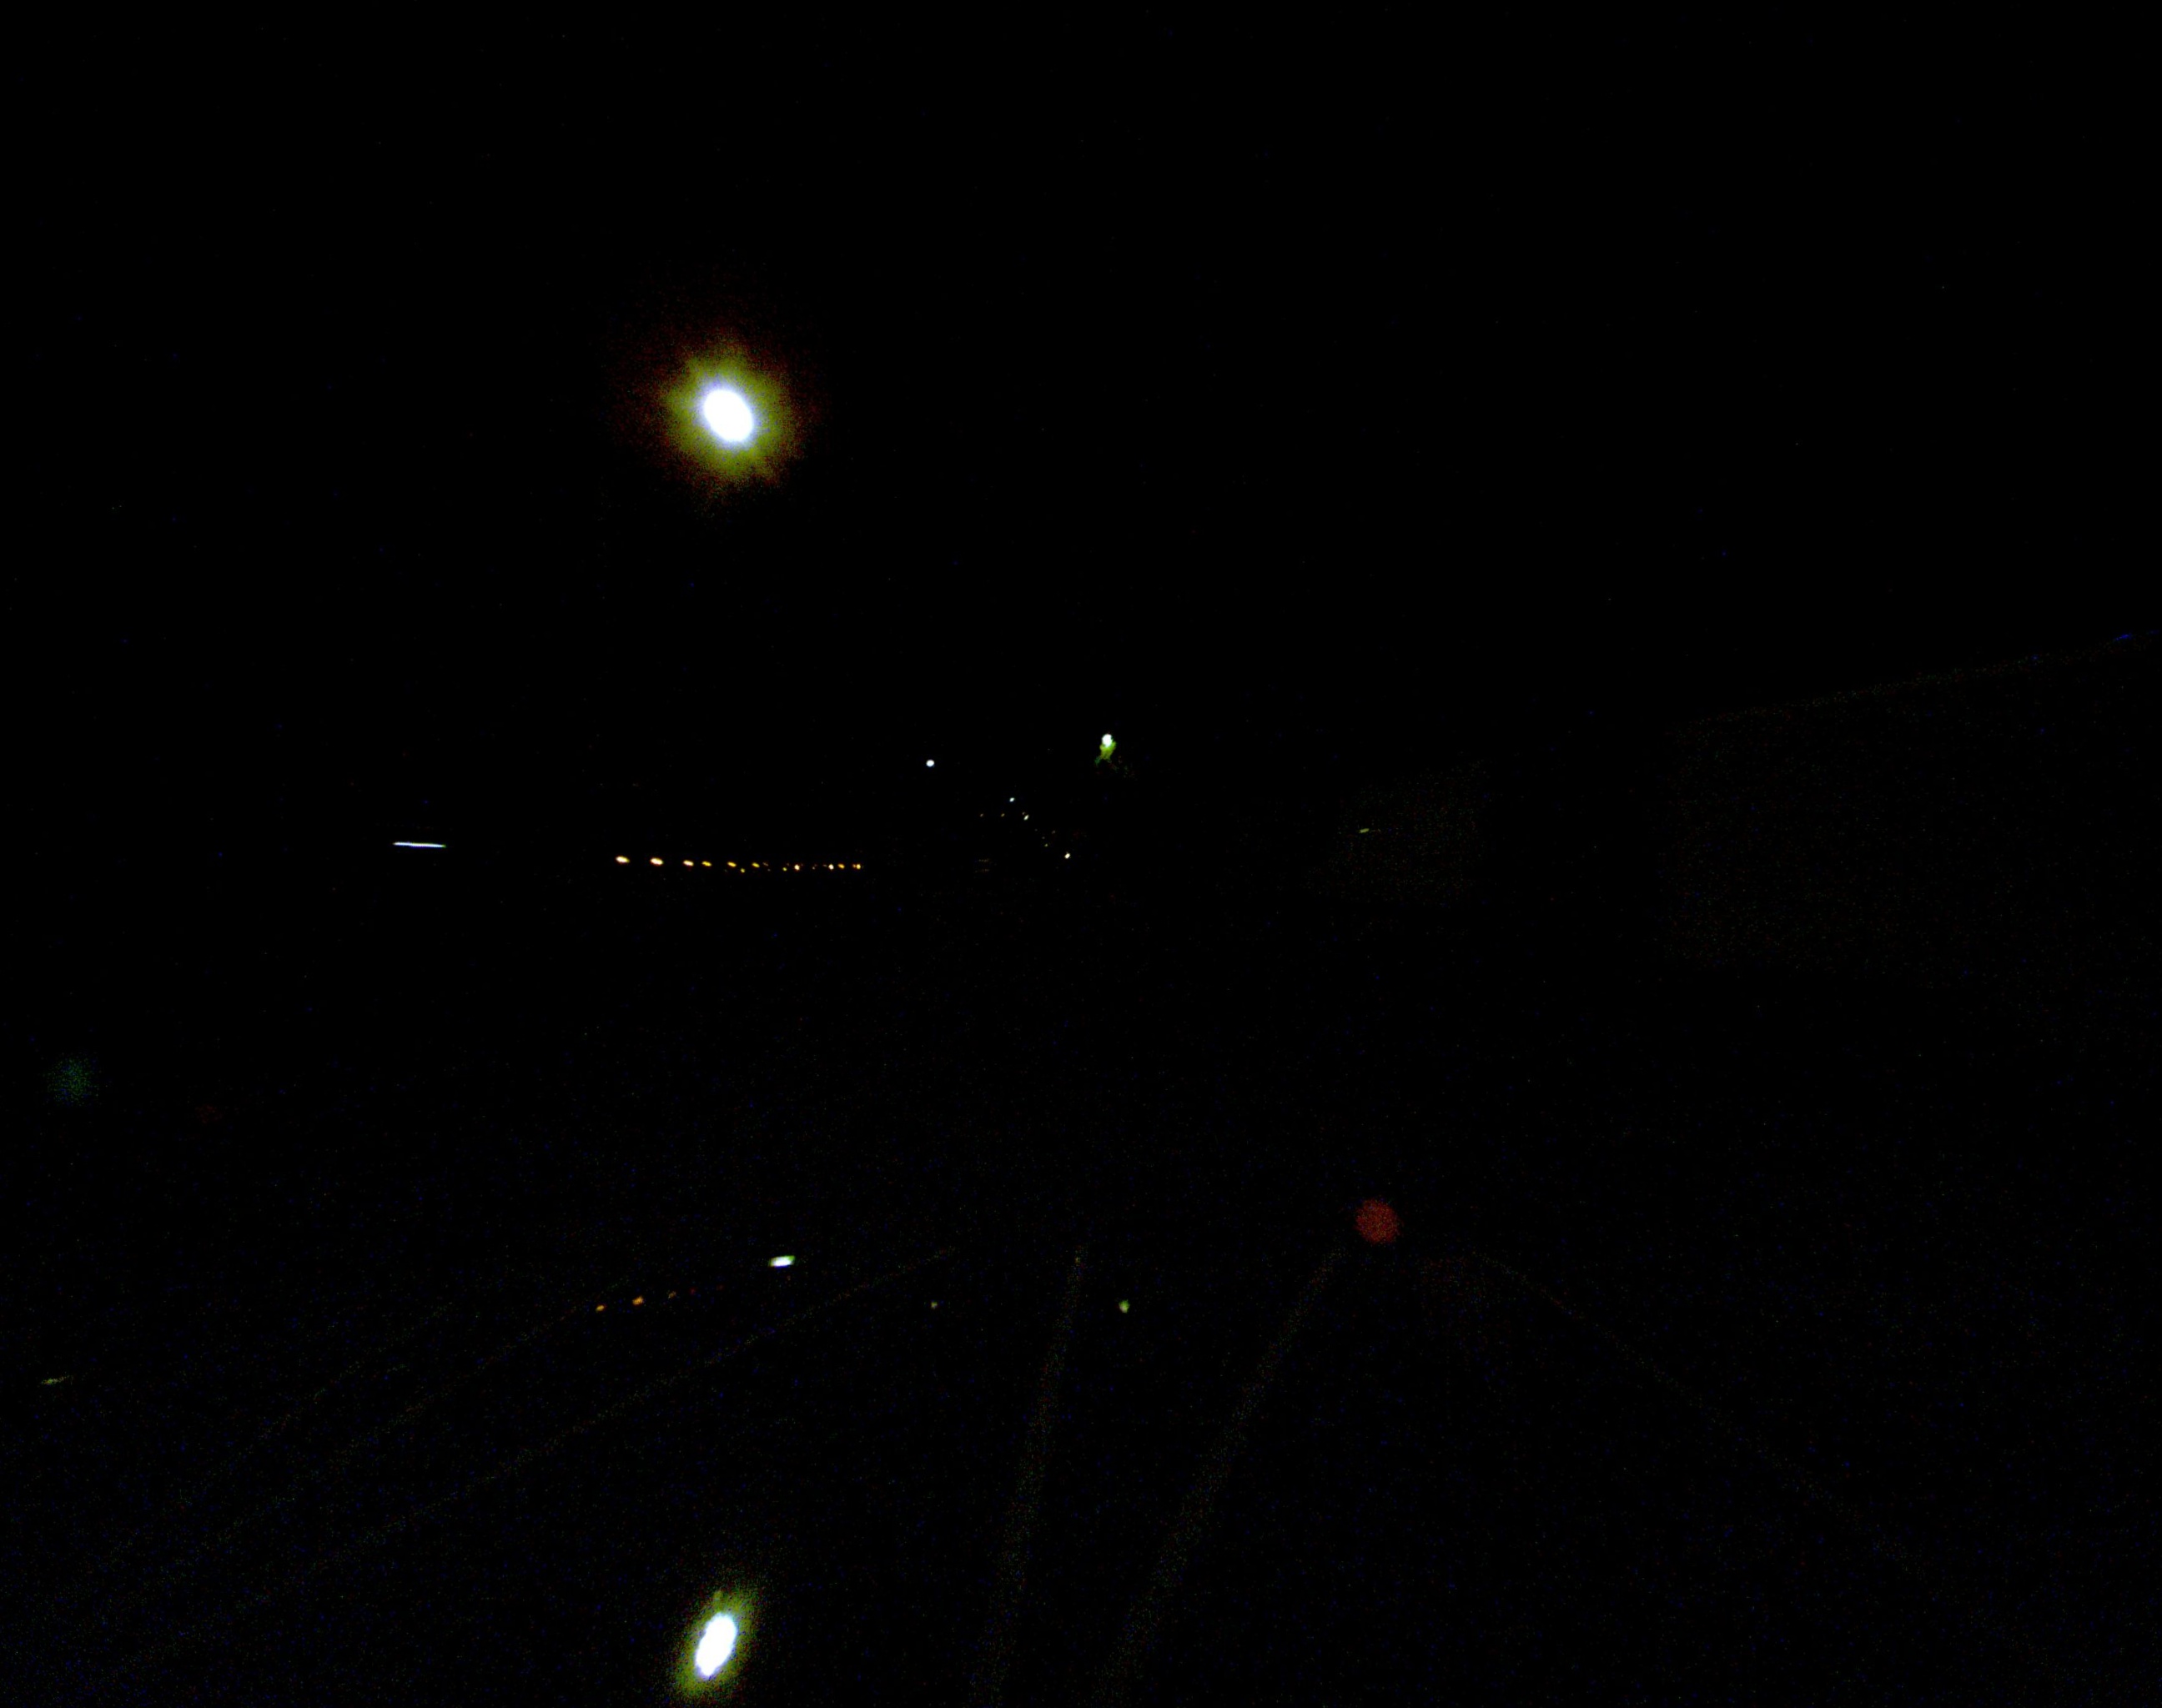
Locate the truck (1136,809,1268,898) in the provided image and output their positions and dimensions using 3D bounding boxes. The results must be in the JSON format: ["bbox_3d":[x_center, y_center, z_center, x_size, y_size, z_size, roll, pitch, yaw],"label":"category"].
[{"bbox_3d":[4.610,-0.060,31.352,2.752,3.048,9.330,-2,1,-8],"label":"truck"}]

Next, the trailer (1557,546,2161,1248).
[{"bbox_3d":[5.260,0.157,4.819,2.001,2.749,4.000,0,0,1],"label":"trailer"}]

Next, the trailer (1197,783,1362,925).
[{"bbox_3d":[4.964,-0.011,20.654,2.488,3.055,7.954,-2,0,1],"label":"trailer"}]

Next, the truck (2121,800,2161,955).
[{"bbox_3d":[18.108,0.434,9.732,2.134,2.598,7.109,-1,1,21],"label":"truck"}]

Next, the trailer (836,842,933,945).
[{"bbox_3d":[-4.667,0.786,17.544,1.497,2.002,4.976,-2,0,-22],"label":"trailer"}]

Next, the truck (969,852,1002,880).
[{"bbox_3d":[-9.549,1.147,76.546,2.405,2.555,6.405,-1,0,1],"label":"truck"}]

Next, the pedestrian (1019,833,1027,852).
[{"bbox_3d":[-14.997,-2.993,196.460,1.743,4.679,2.302,-2,1,1],"label":"pedestrian"}]

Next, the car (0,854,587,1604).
[{"bbox_3d":[-3.488,0.948,1.758,1.733,1.769,4.316,-3,1,1],"label":"car"}]

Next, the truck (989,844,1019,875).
[{"bbox_3d":[-9.437,0.595,94.086,3.056,3.602,9.598,-2,0,-2],"label":"truck"}]

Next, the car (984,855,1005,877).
[{"bbox_3d":[-9.646,1.315,85.192,1.864,2.373,3.999,-2,0,0],"label":"car"}]

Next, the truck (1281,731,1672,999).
[{"bbox_3d":[5.135,0.102,11.616,1.999,2.768,7.242,-2,0,-1],"label":"truck"}]
